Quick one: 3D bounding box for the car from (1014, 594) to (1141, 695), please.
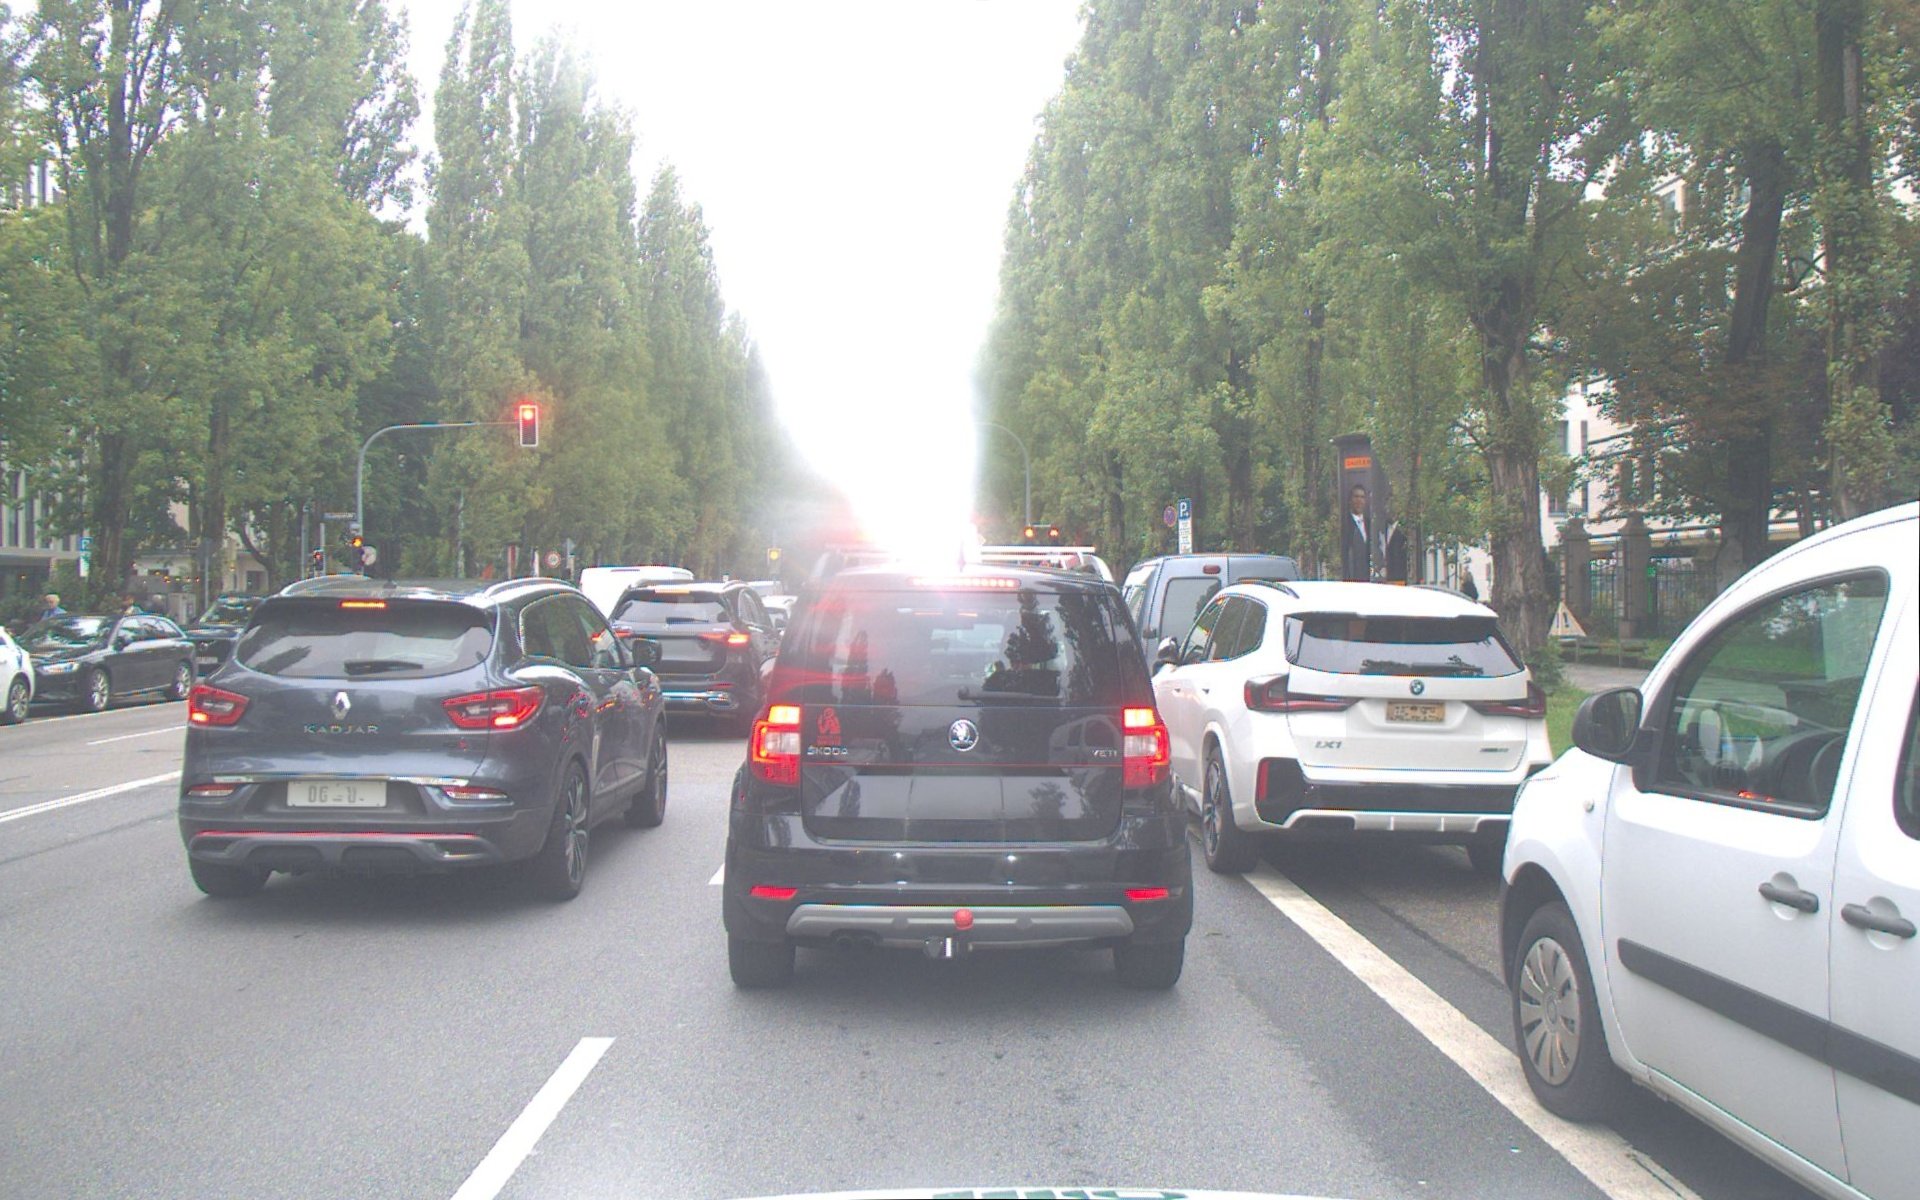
[{"bbox_3d":[1.856,0.674,27.035,1.700,1.501,3.561,-1,0,-2],"label":"car"}]

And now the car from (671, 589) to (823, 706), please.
[{"bbox_3d":[-3.148,0.652,25.227,1.954,1.588,3.998,-1,1,-3],"label":"car"}]

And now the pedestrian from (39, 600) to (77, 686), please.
[{"bbox_3d":[-16.436,0.774,30.138,0.455,1.555,0.395,-1,0,-1],"label":"pedestrian"}]

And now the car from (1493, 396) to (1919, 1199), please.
[{"bbox_3d":[2.731,0.558,3.331,1.814,1.914,4.166,-1,0,-3],"label":"car"}]

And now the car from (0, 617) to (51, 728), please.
[{"bbox_3d":[-13.117,0.987,20.503,1.591,1.413,4.163,-3,0,-4],"label":"car"}]

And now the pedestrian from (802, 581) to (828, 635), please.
[{"bbox_3d":[-5.605,0.314,64.051,0.867,2.049,1.013,-1,0,1],"label":"pedestrian"}]

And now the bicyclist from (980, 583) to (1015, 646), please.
[{"bbox_3d":[1.060,0.396,46.455,0.888,1.752,0.824,-1,0,-5],"label":"bicyclist"}]

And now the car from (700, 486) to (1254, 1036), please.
[{"bbox_3d":[0.011,0.535,7.537,1.818,1.801,3.999,1,0,-2],"label":"car"}]

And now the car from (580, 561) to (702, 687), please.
[{"bbox_3d":[-5.812,0.405,30.549,1.746,2.148,4.021,-1,0,-5],"label":"car"}]

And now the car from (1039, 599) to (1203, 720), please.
[{"bbox_3d":[2.029,0.719,21.737,1.700,1.411,3.561,-1,1,-2],"label":"car"}]

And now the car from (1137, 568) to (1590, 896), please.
[{"bbox_3d":[2.251,0.641,10.393,1.706,1.620,4.210,-1,1,-2],"label":"car"}]

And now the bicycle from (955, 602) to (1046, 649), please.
[{"bbox_3d":[1.124,0.701,46.381,2.485,1.259,0.812,-1,0,-4],"label":"bicycle"}]

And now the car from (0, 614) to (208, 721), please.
[{"bbox_3d":[-13.380,0.989,25.785,1.591,1.413,4.163,-3,0,-4],"label":"car"}]

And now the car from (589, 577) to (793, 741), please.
[{"bbox_3d":[-2.912,0.578,18.692,1.745,1.648,4.023,1,0,-2],"label":"car"}]

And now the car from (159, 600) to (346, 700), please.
[{"bbox_3d":[-13.529,0.886,31.949,1.813,1.683,4.692,-3,0,-4],"label":"car"}]

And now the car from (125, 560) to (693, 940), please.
[{"bbox_3d":[-2.714,0.646,9.241,1.798,1.613,4.184,1,0,-1],"label":"car"}]

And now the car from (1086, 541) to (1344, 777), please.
[{"bbox_3d":[2.261,0.465,15.668,1.700,1.928,4.023,-1,0,-2],"label":"car"}]

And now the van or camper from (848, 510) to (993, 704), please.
[{"bbox_3d":[-0.645,0.075,24.309,1.936,2.593,4.022,-1,0,-3],"label":"van or camper"}]
